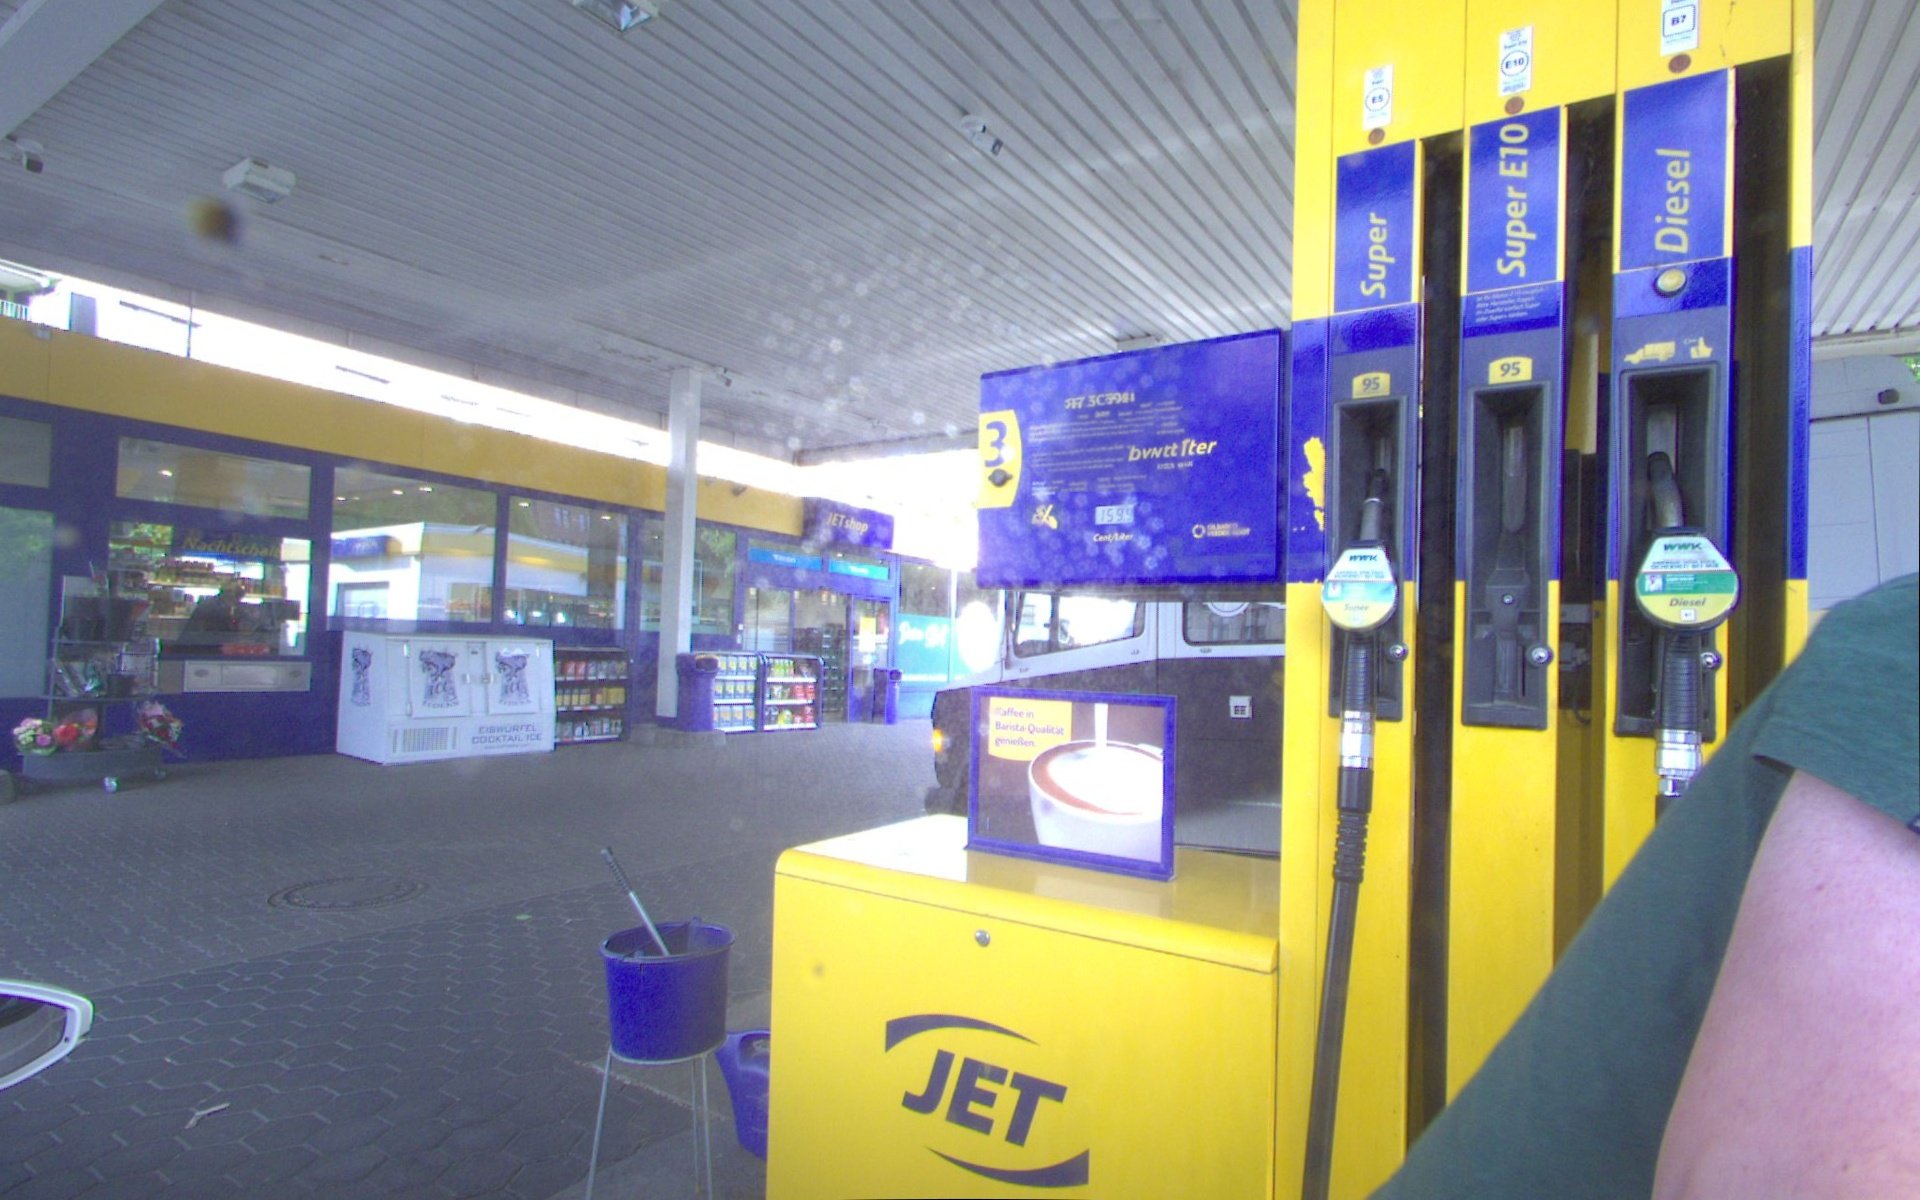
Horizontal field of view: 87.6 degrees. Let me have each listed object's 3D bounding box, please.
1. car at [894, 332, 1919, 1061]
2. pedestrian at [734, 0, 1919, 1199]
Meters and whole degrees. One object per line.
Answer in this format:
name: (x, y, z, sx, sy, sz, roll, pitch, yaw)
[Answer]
car: (2.369, 0.444, 5.997, 5.271, 2.759, 2.193, -1, -3, 34)
pedestrian: (0.677, 0.562, 0.444, 1.167, 1.750, 0.988, -2, -2, 35)
